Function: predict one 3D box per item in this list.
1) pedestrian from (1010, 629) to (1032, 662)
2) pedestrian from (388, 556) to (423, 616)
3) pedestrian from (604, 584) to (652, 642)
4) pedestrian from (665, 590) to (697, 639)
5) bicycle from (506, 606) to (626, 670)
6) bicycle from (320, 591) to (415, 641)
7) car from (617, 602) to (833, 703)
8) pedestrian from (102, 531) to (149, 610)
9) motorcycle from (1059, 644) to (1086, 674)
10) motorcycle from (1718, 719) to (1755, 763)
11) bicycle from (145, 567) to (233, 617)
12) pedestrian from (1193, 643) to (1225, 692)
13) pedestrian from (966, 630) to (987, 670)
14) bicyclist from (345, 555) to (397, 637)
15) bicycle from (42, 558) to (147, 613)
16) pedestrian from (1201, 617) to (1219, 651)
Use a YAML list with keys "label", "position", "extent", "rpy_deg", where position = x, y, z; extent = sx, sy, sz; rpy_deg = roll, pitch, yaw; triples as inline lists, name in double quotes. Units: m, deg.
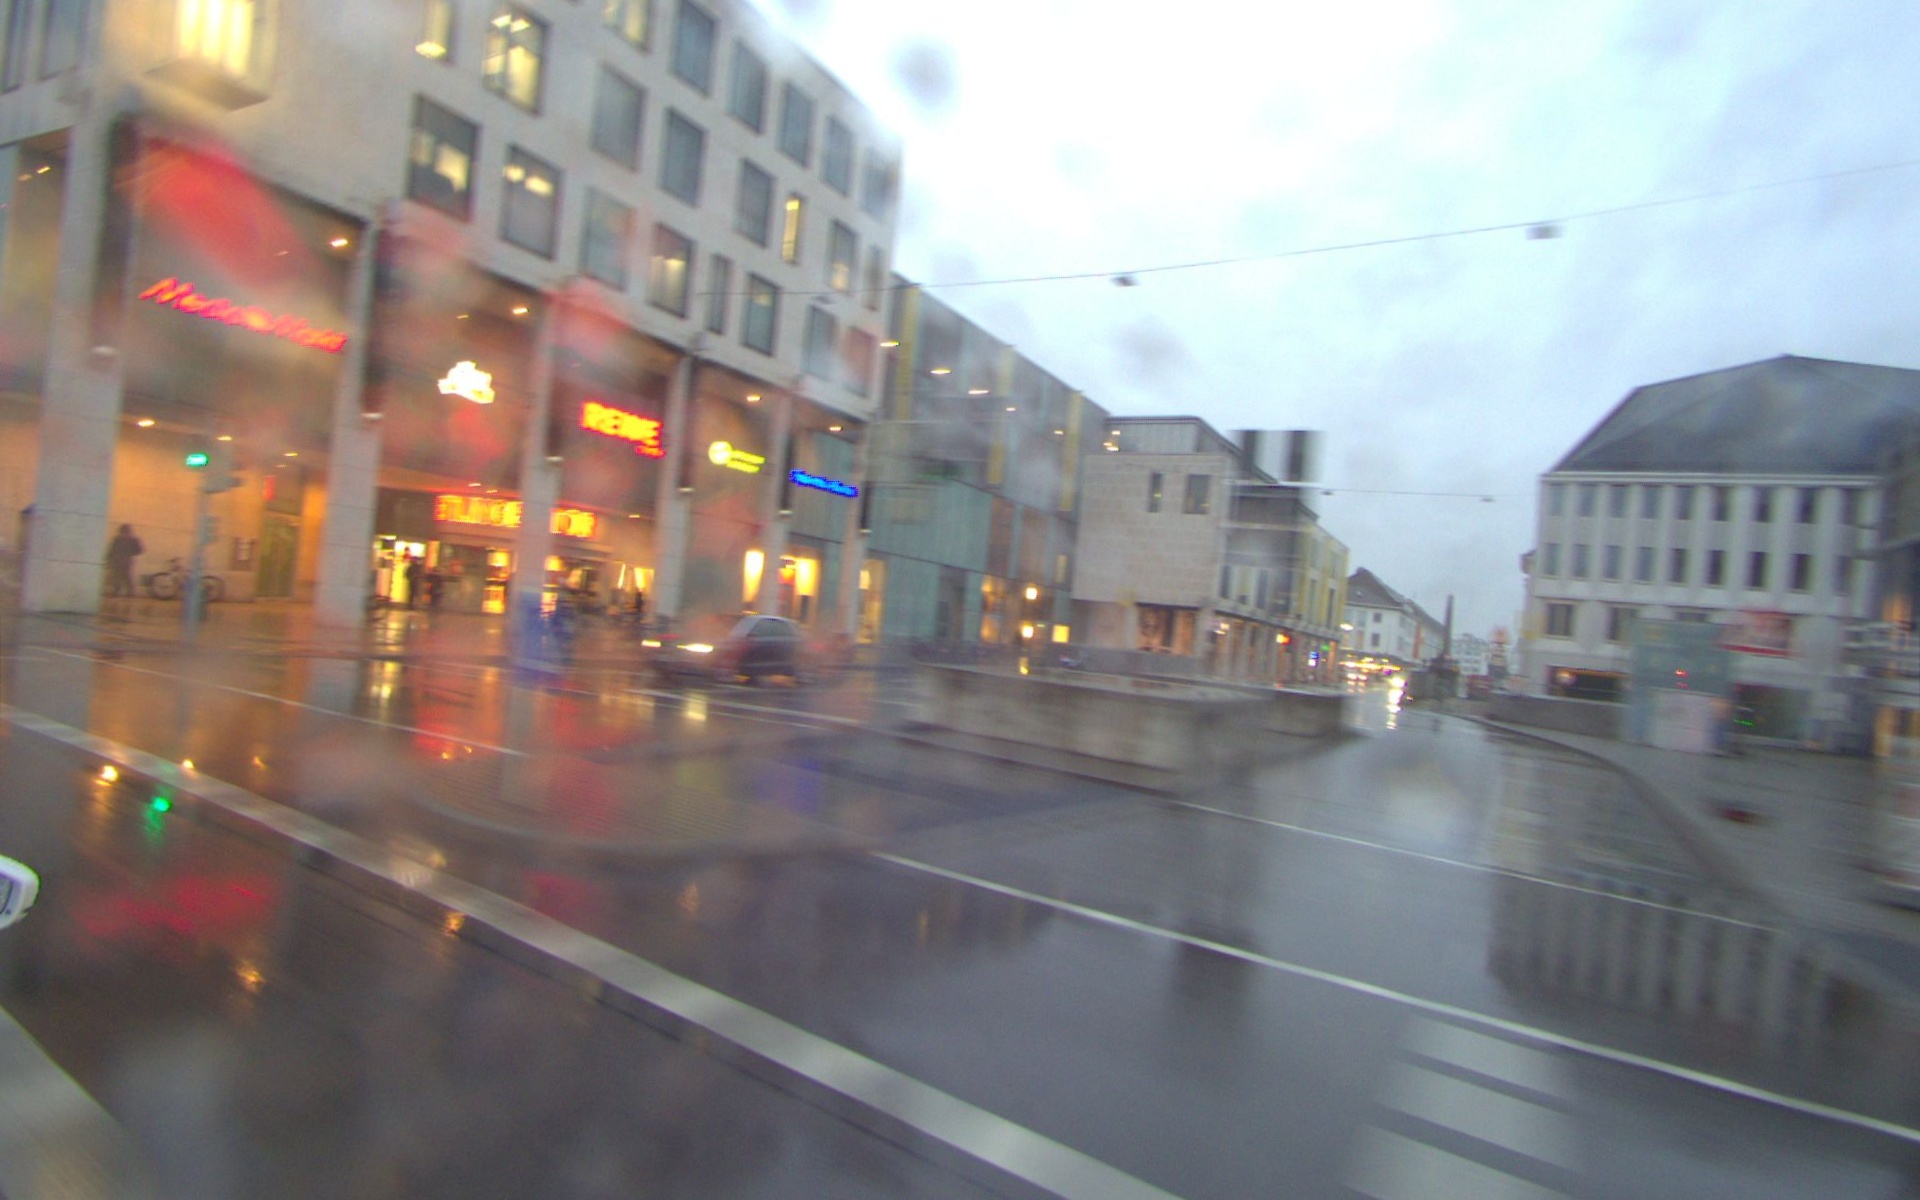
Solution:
- label: "pedestrian"
  position: [3.300, 2.465, 54.308]
  extent: [0.769, 1.703, 0.742]
  rpy_deg: [5, -2, 35]
- label: "pedestrian"
  position: [-16.803, -0.426, 30.477]
  extent: [0.730, 1.739, 0.733]
  rpy_deg: [5, 0, -33]
- label: "pedestrian"
  position: [-10.716, 0.426, 32.516]
  extent: [0.810, 1.703, 1.032]
  rpy_deg: [5, -2, 29]
- label: "pedestrian"
  position: [-10.076, 0.539, 36.344]
  extent: [0.519, 1.705, 0.895]
  rpy_deg: [5, -1, 29]
- label: "bicycle"
  position: [-9.550, 0.957, 24.557]
  extent: [0.941, 1.375, 2.720]
  rpy_deg: [5, -2, 26]
- label: "bicycle"
  position: [-15.592, 0.427, 26.488]
  extent: [1.952, 1.099, 0.917]
  rpy_deg: [7, -1, -40]
- label: "car"
  position: [-4.660, 1.130, 20.518]
  extent: [1.967, 1.636, 3.997]
  rpy_deg: [5, -3, 30]
- label: "pedestrian"
  position: [-19.688, -0.695, 23.735]
  extent: [0.517, 1.764, 0.600]
  rpy_deg: [5, -2, 37]
- label: "motorcycle"
  position: [5.557, 2.916, 49.541]
  extent: [0.585, 1.368, 1.492]
  rpy_deg: [6, -2, 33]
- label: "motorcycle"
  position: [26.353, 4.775, 34.162]
  extent: [0.584, 1.368, 1.494]
  rpy_deg: [6, -2, 26]
- label: "bicycle"
  position: [-19.640, -0.185, 25.666]
  extent: [0.515, 1.082, 1.652]
  rpy_deg: [5, -3, 26]
- label: "pedestrian"
  position: [9.091, 2.463, 36.740]
  extent: [0.769, 1.703, 0.742]
  rpy_deg: [5, -2, 35]
- label: "pedestrian"
  position: [0.748, 2.237, 45.120]
  extent: [0.572, 1.703, 0.543]
  rpy_deg: [5, -2, 35]
- label: "bicyclist"
  position: [-15.520, -0.102, 26.511]
  extent: [0.917, 2.038, 0.898]
  rpy_deg: [6, 0, -38]
- label: "bicycle"
  position: [-20.584, -0.319, 23.971]
  extent: [0.515, 1.082, 1.775]
  rpy_deg: [6, -3, 21]
- label: "pedestrian"
  position: [13.147, 1.800, 52.891]
  extent: [0.572, 1.703, 0.543]
  rpy_deg: [5, -2, 35]
